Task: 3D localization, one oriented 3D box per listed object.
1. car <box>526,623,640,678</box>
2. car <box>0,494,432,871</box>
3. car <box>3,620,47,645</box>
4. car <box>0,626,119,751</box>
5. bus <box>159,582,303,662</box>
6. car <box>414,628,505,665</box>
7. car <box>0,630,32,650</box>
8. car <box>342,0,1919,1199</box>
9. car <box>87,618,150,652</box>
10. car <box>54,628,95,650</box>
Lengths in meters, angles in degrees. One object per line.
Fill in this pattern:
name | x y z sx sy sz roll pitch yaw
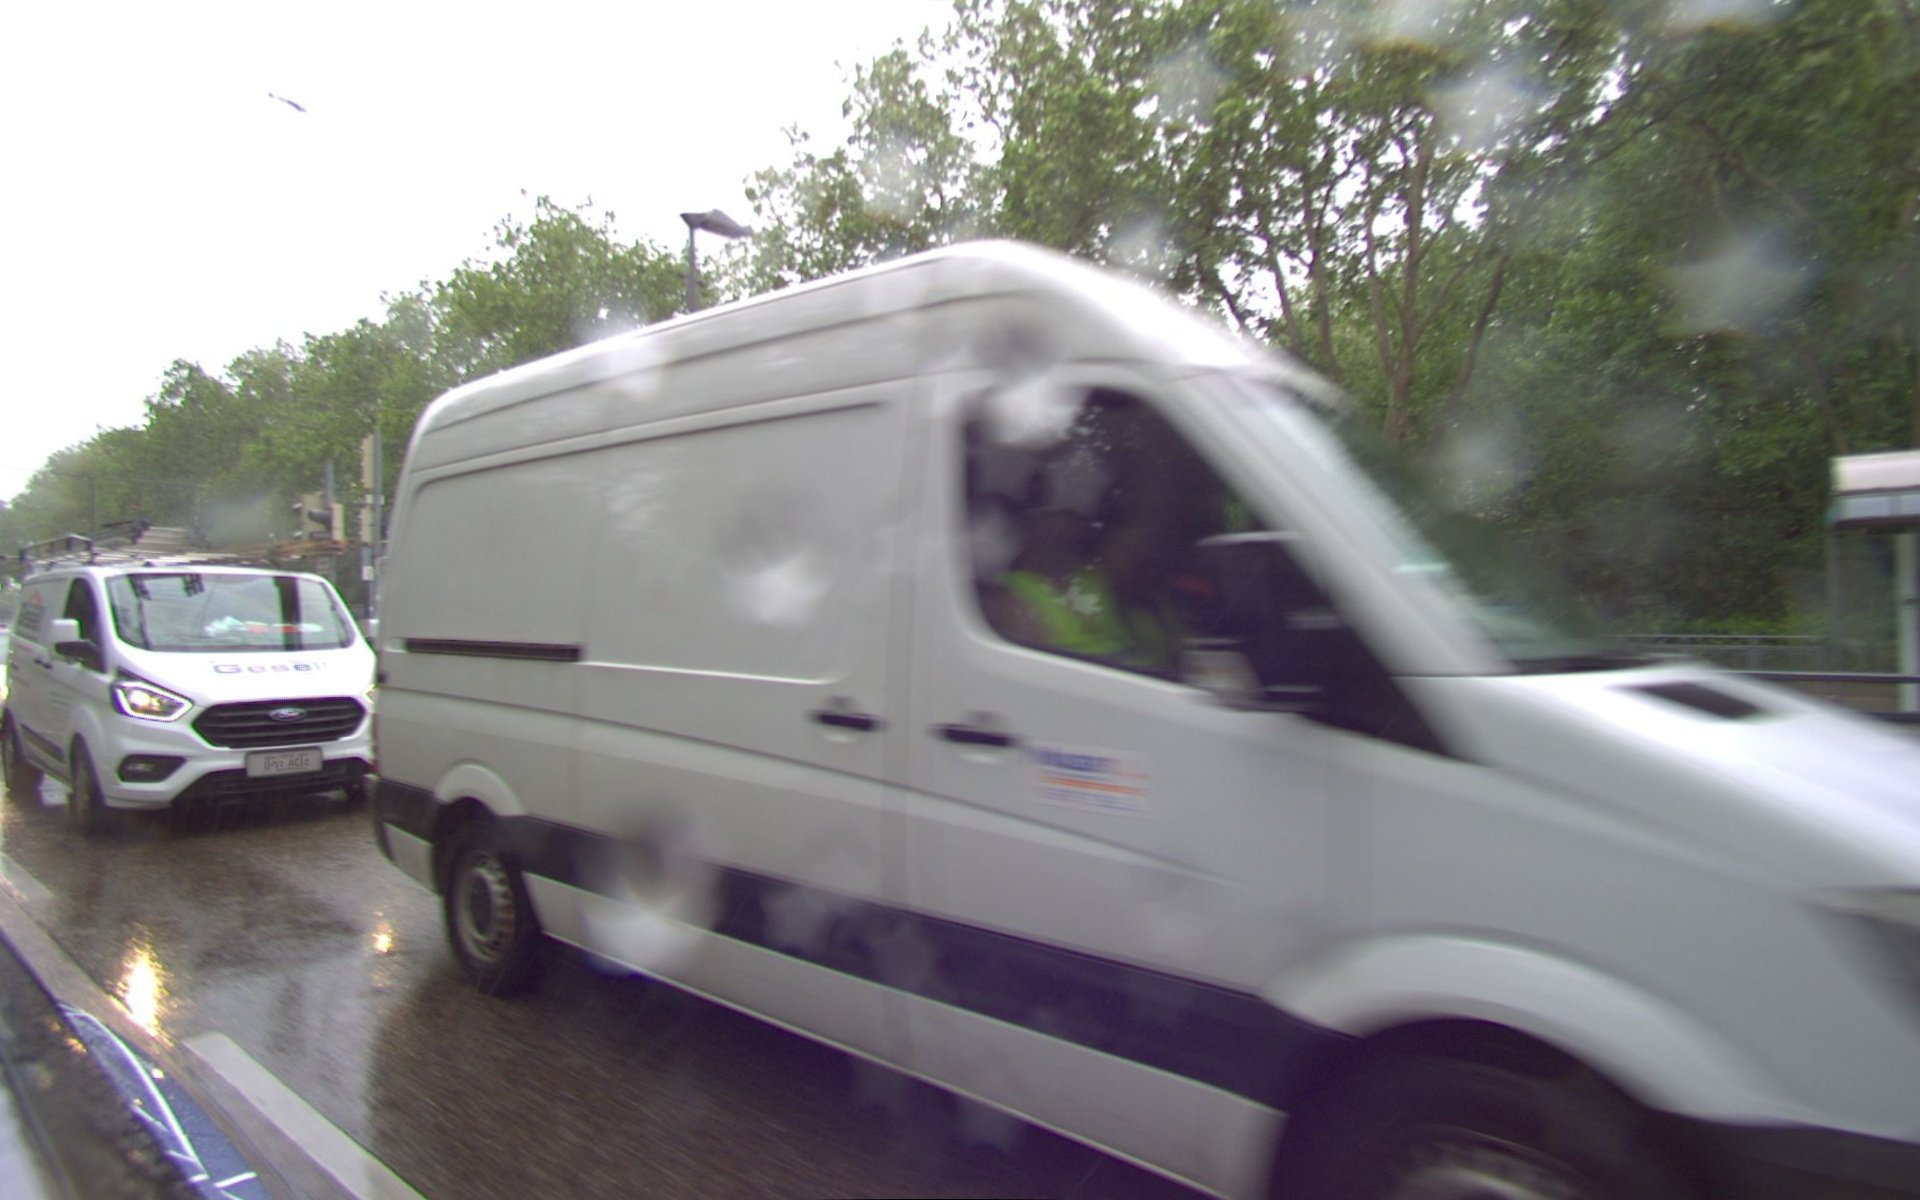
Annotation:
car | -15.395 2.024 41.235 4.793 2.109 2.014 -1 -3 35
car | -6.651 0.510 8.583 5.283 2.279 1.974 0 0 40
car | -95.800 3.311 103.655 6.131 2.465 2.307 -1 -2 39
car | -13.123 1.135 13.949 3.802 1.490 1.708 0 -1 40
bus | -39.152 1.150 54.126 12.229 3.867 3.001 -1 0 38
car | -23.728 2.173 47.900 4.602 1.670 2.012 -1 -3 37
car | -83.953 3.532 89.436 4.269 1.670 2.013 -1 -3 36
car | 0.234 0.231 3.605 6.108 2.576 2.306 0 0 40
car | -66.758 2.775 80.259 6.556 2.560 2.367 -1 -3 37
car | -78.715 3.481 89.964 4.635 1.876 1.937 -1 -3 39
